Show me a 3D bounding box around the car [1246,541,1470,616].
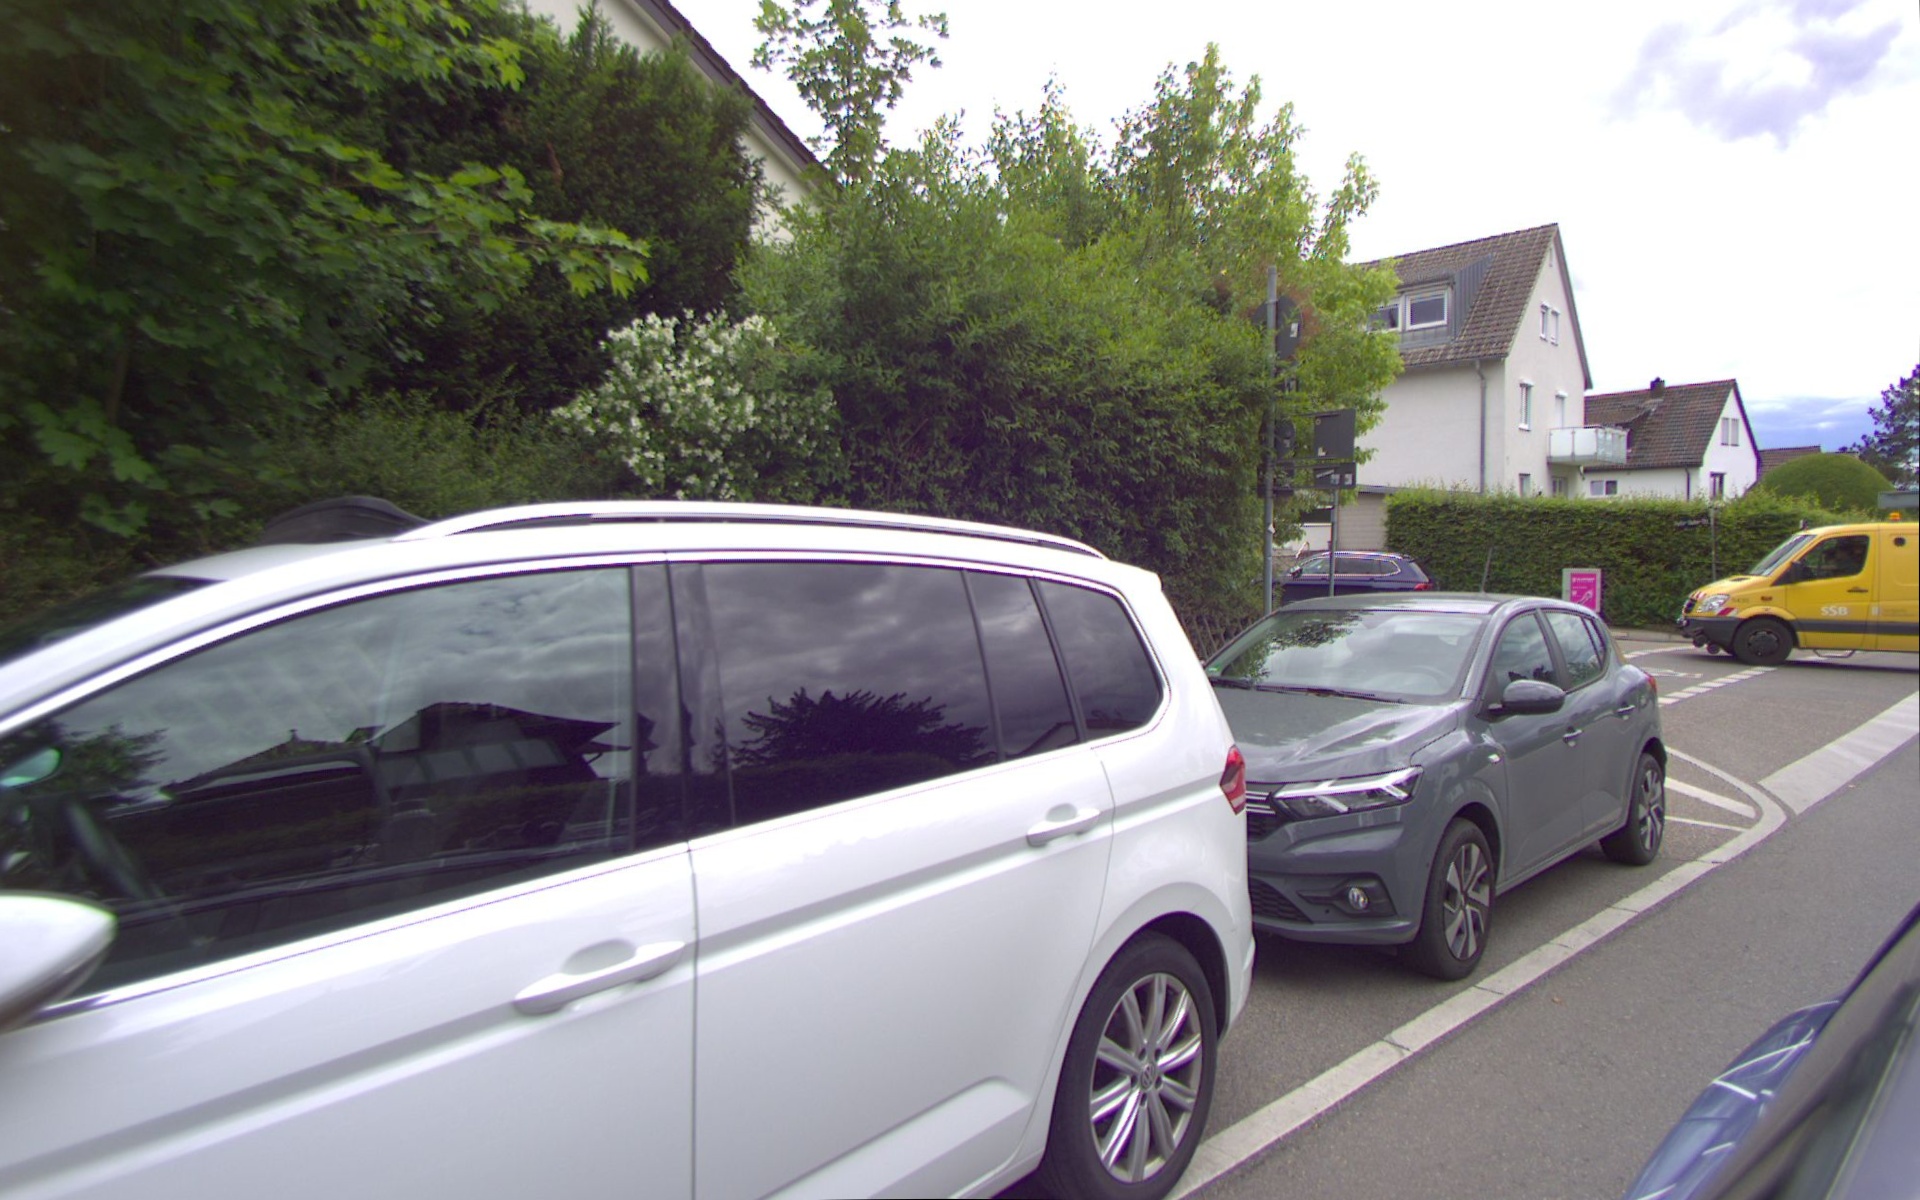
[{"bbox_3d":[9.268,-0.531,23.703,4.494,1.452,1.974,5,3,37],"label":"car"}]

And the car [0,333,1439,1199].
[{"bbox_3d":[-1.017,0.551,1.975,4.680,1.628,2.003,0,3,-45],"label":"car"}]

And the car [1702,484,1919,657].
[{"bbox_3d":[15.748,-0.435,16.017,6.093,2.633,2.343,3,2,30],"label":"car"}]

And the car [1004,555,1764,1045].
[{"bbox_3d":[2.497,0.595,5.351,4.378,1.510,1.942,0,3,-41],"label":"car"}]
